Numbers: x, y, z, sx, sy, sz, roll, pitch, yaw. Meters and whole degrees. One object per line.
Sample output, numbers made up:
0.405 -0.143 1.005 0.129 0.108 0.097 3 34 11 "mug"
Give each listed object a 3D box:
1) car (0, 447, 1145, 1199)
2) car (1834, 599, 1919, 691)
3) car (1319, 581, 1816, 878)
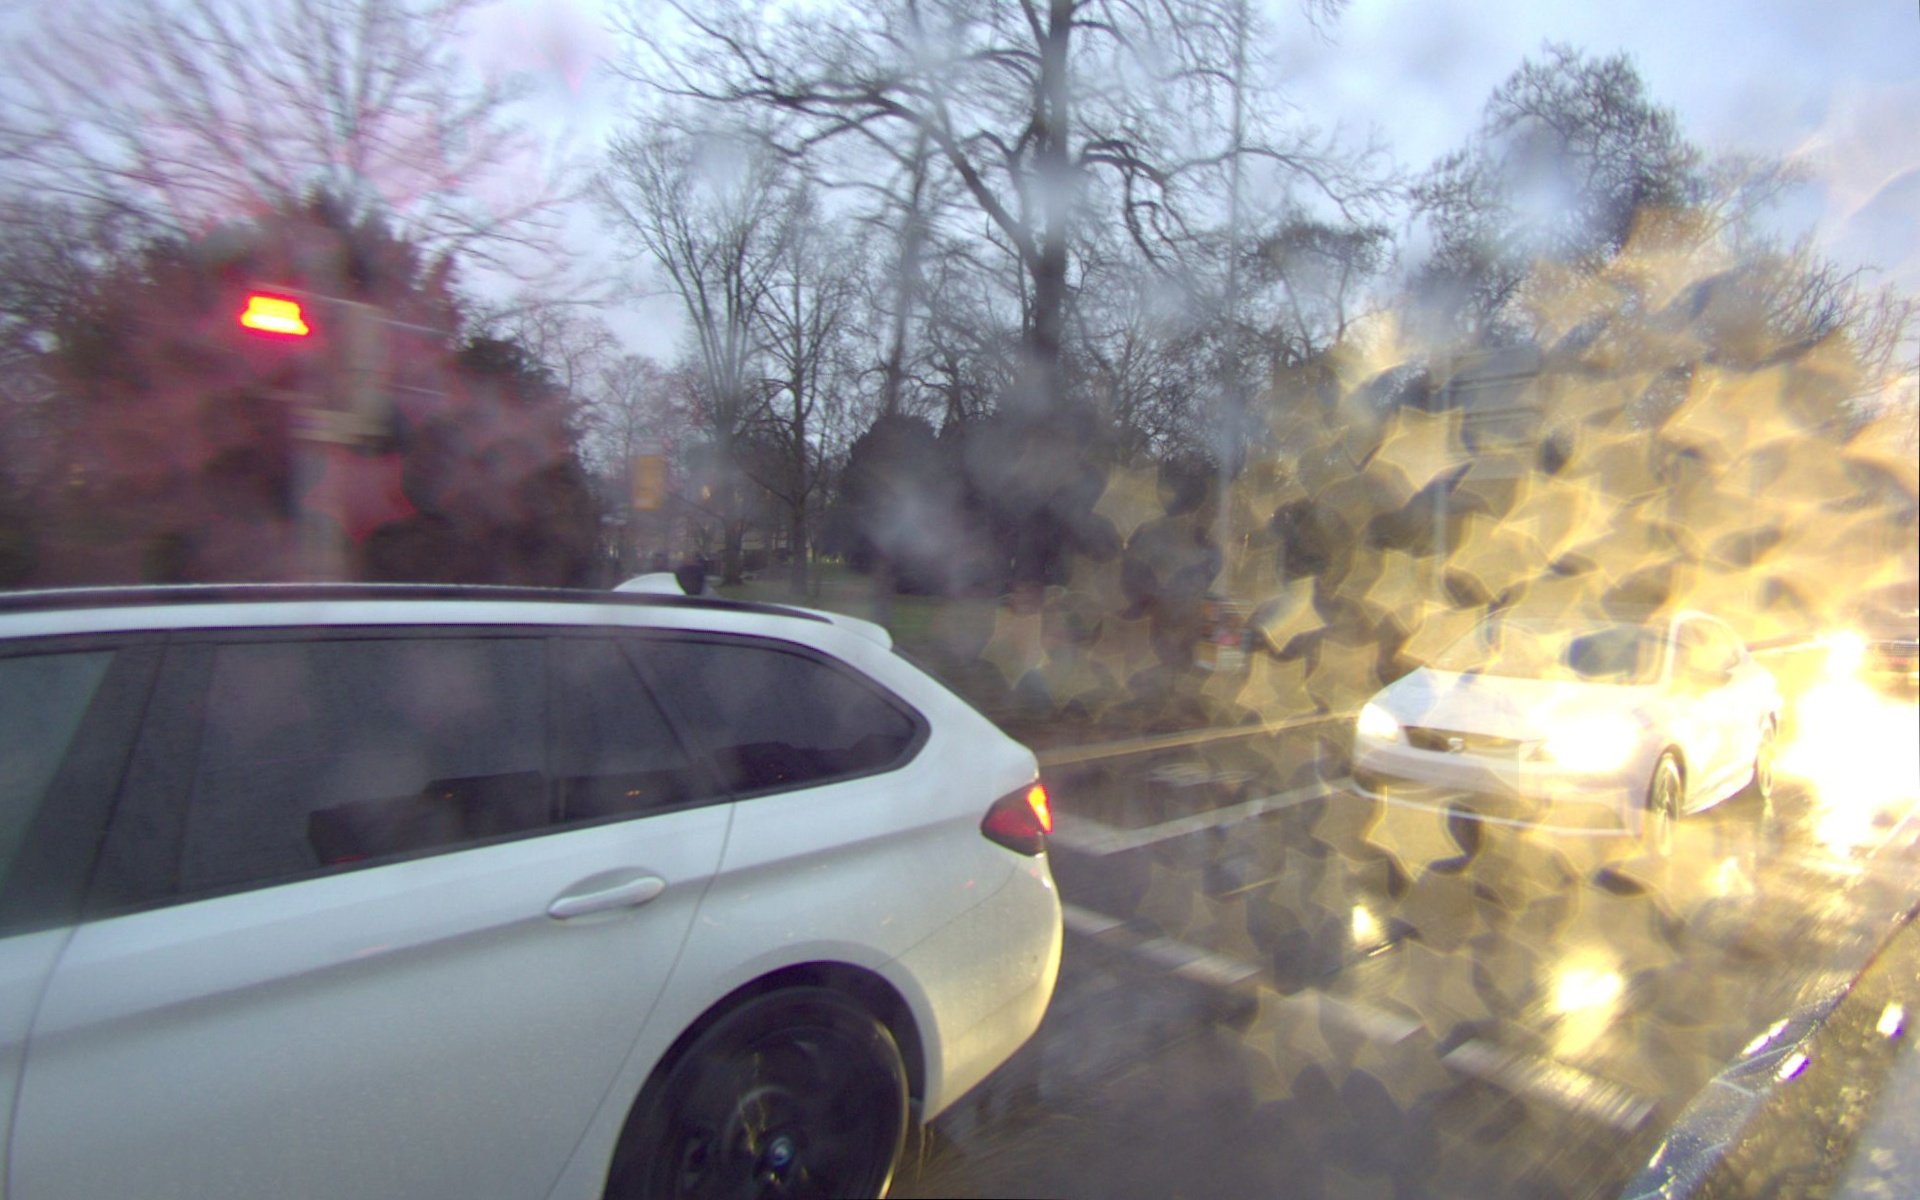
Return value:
-1.952 0.555 1.869 4.878 1.520 1.791 -1 1 -39 "car"
18.261 0.798 19.275 4.007 1.516 1.879 -1 3 -41 "car"
4.432 0.629 7.157 3.969 1.479 1.778 -1 3 -40 "car"
